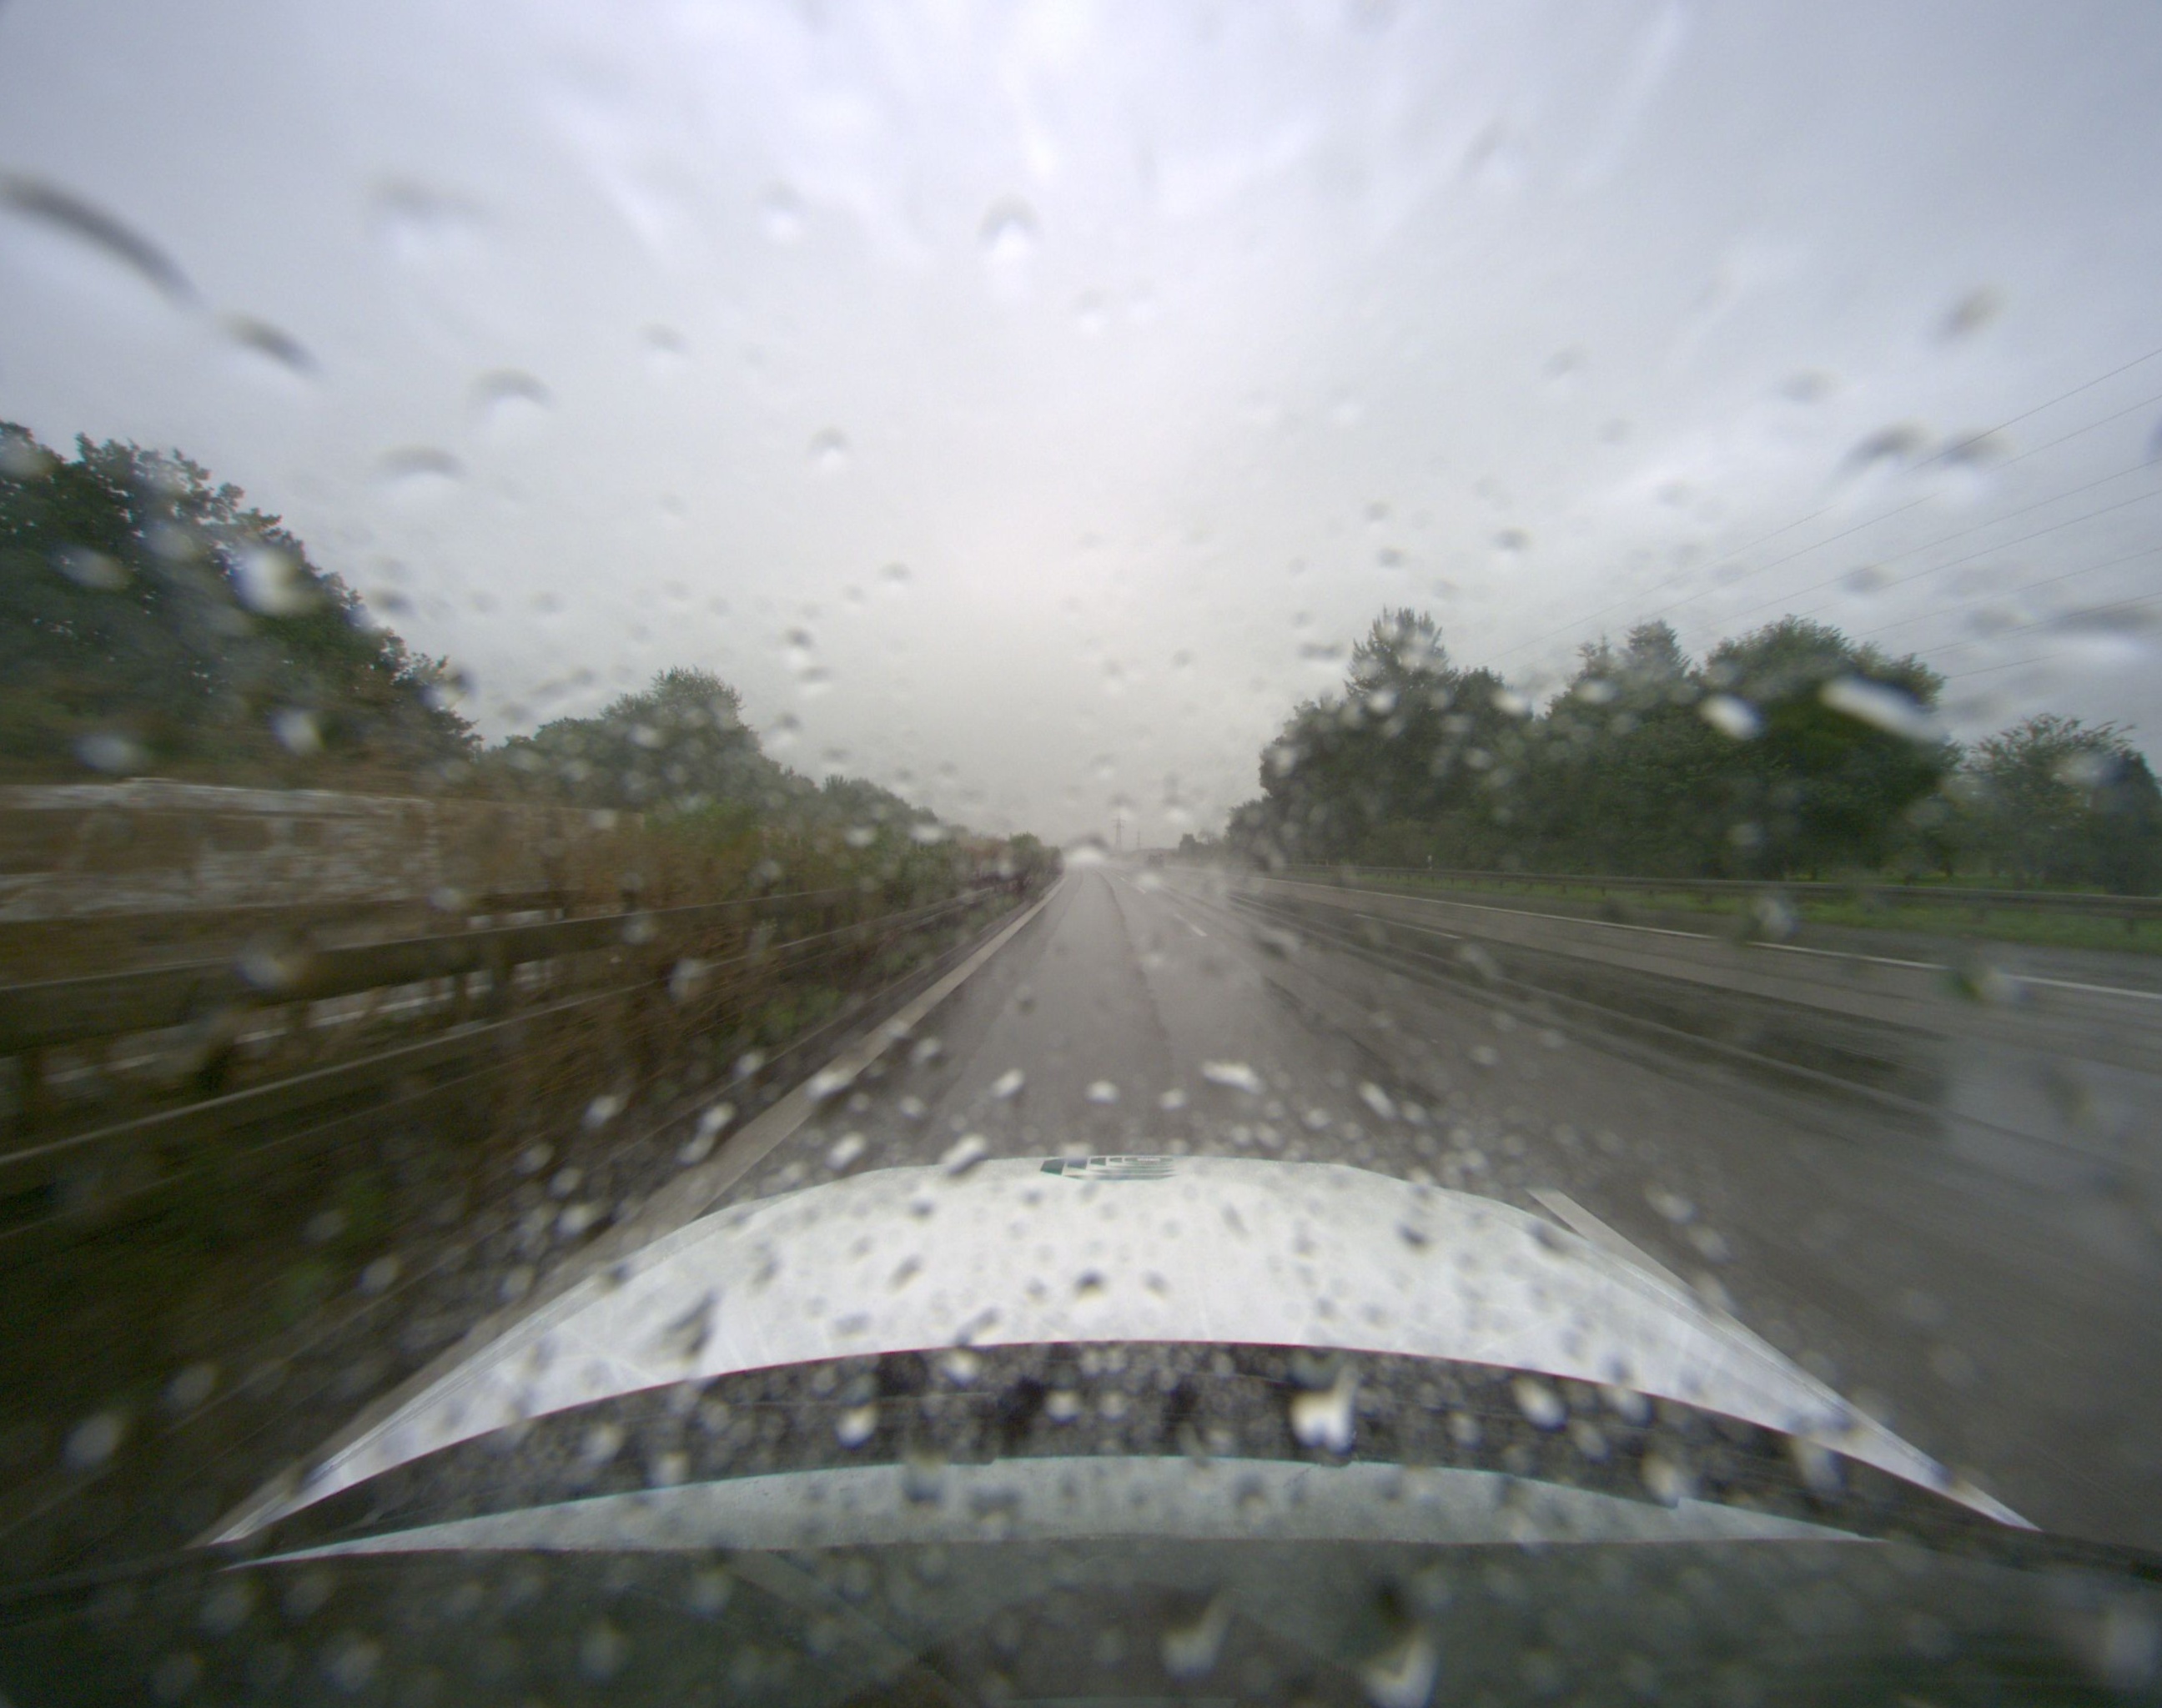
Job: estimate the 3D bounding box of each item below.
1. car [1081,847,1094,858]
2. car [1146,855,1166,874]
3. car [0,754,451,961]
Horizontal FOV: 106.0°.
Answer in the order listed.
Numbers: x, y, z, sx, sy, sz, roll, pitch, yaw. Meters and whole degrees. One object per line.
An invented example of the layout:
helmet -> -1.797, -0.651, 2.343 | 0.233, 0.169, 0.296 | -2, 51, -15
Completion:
car -> 1.880, -0.486, 238.304 | 3.196, 3.193, 7.241 | 0, 0, -6
car -> 8.818, 1.225, 96.374 | 1.803, 2.158, 3.995 | 0, 0, -3
car -> -15.777, 0.023, 14.878 | 2.537, 2.825, 7.429 | 0, 0, 2
